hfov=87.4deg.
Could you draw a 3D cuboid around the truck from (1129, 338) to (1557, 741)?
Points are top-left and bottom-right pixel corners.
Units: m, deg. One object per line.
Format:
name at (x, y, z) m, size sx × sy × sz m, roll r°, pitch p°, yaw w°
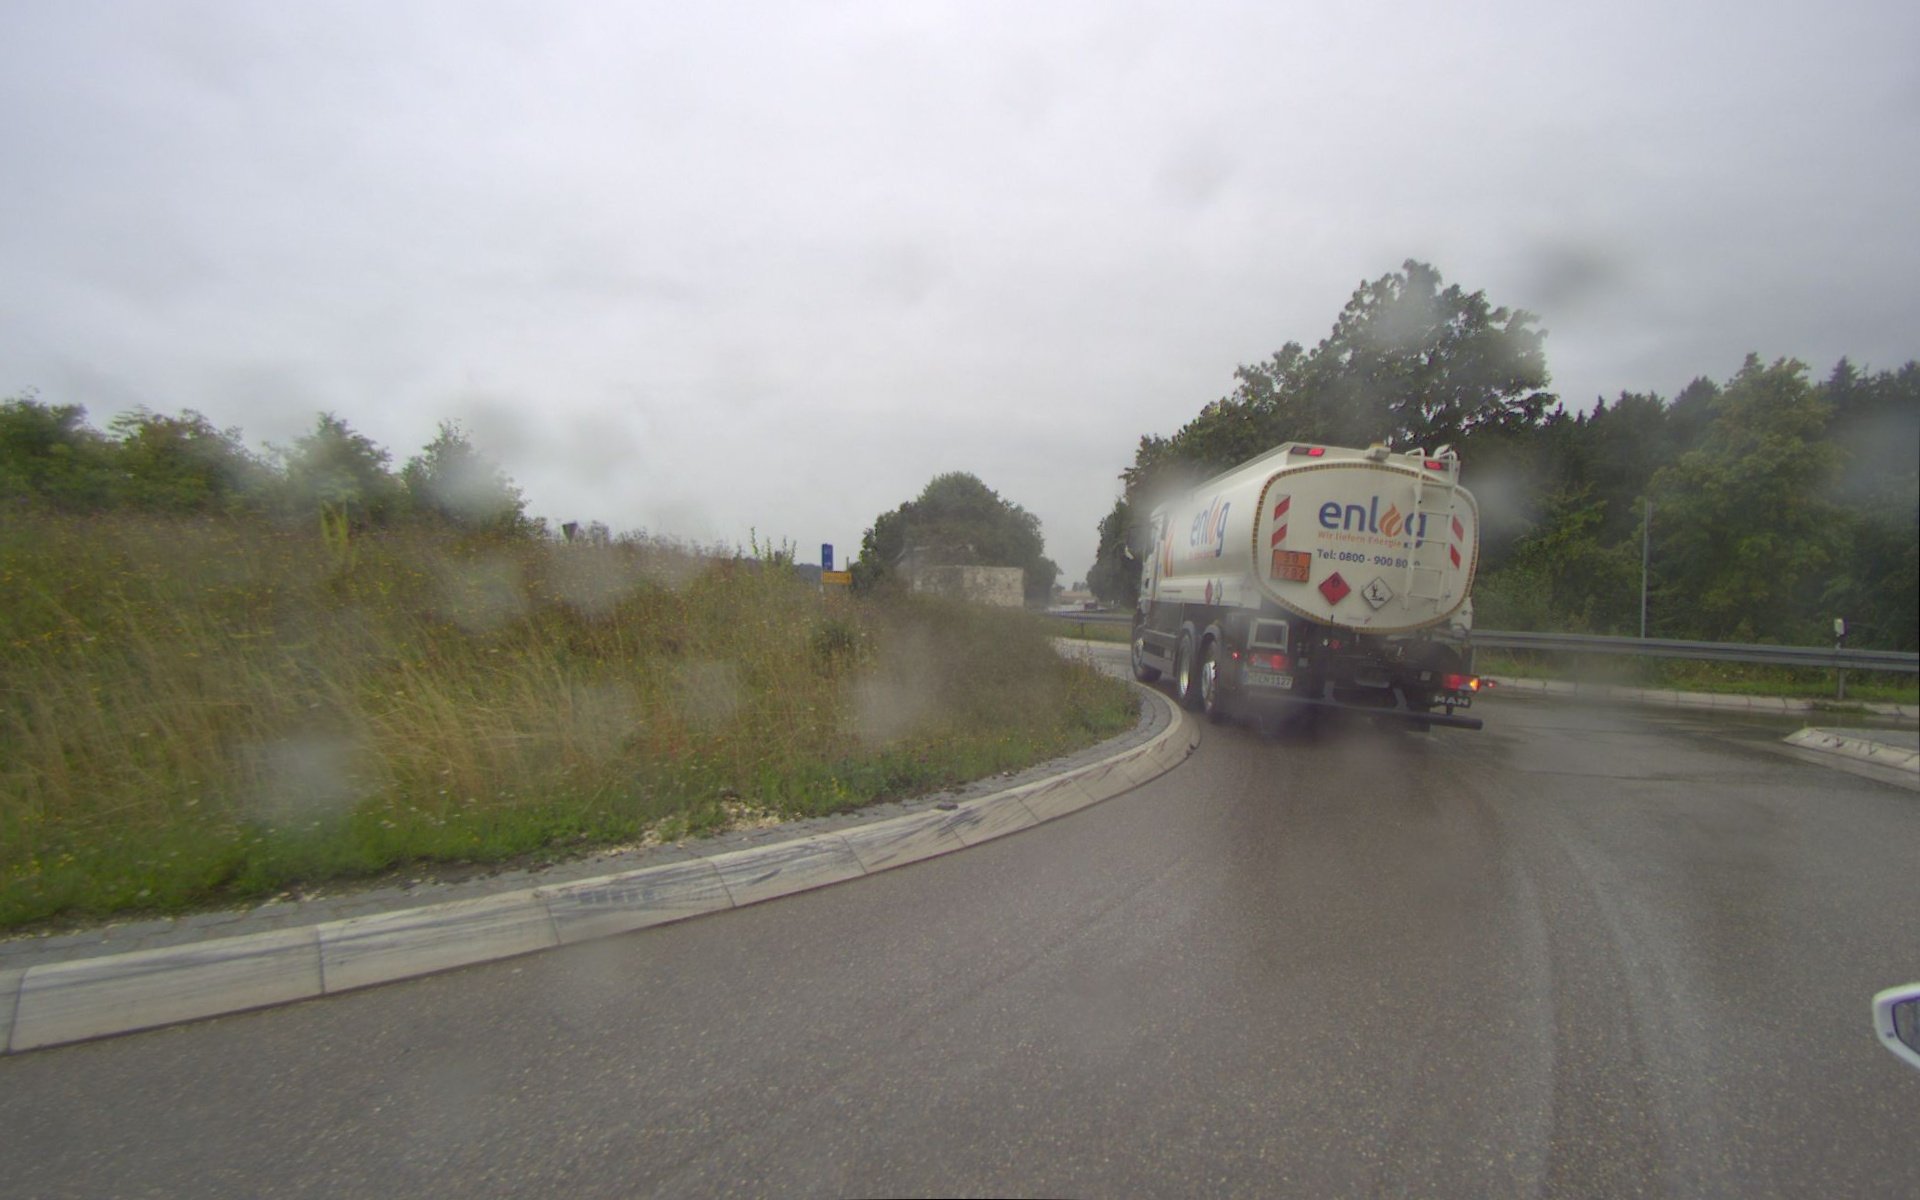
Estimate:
truck at (4.511, -0.701, 14.357) m, size 2.988 × 3.903 × 8.823 m, roll 2°, pitch 1°, yaw 3°
